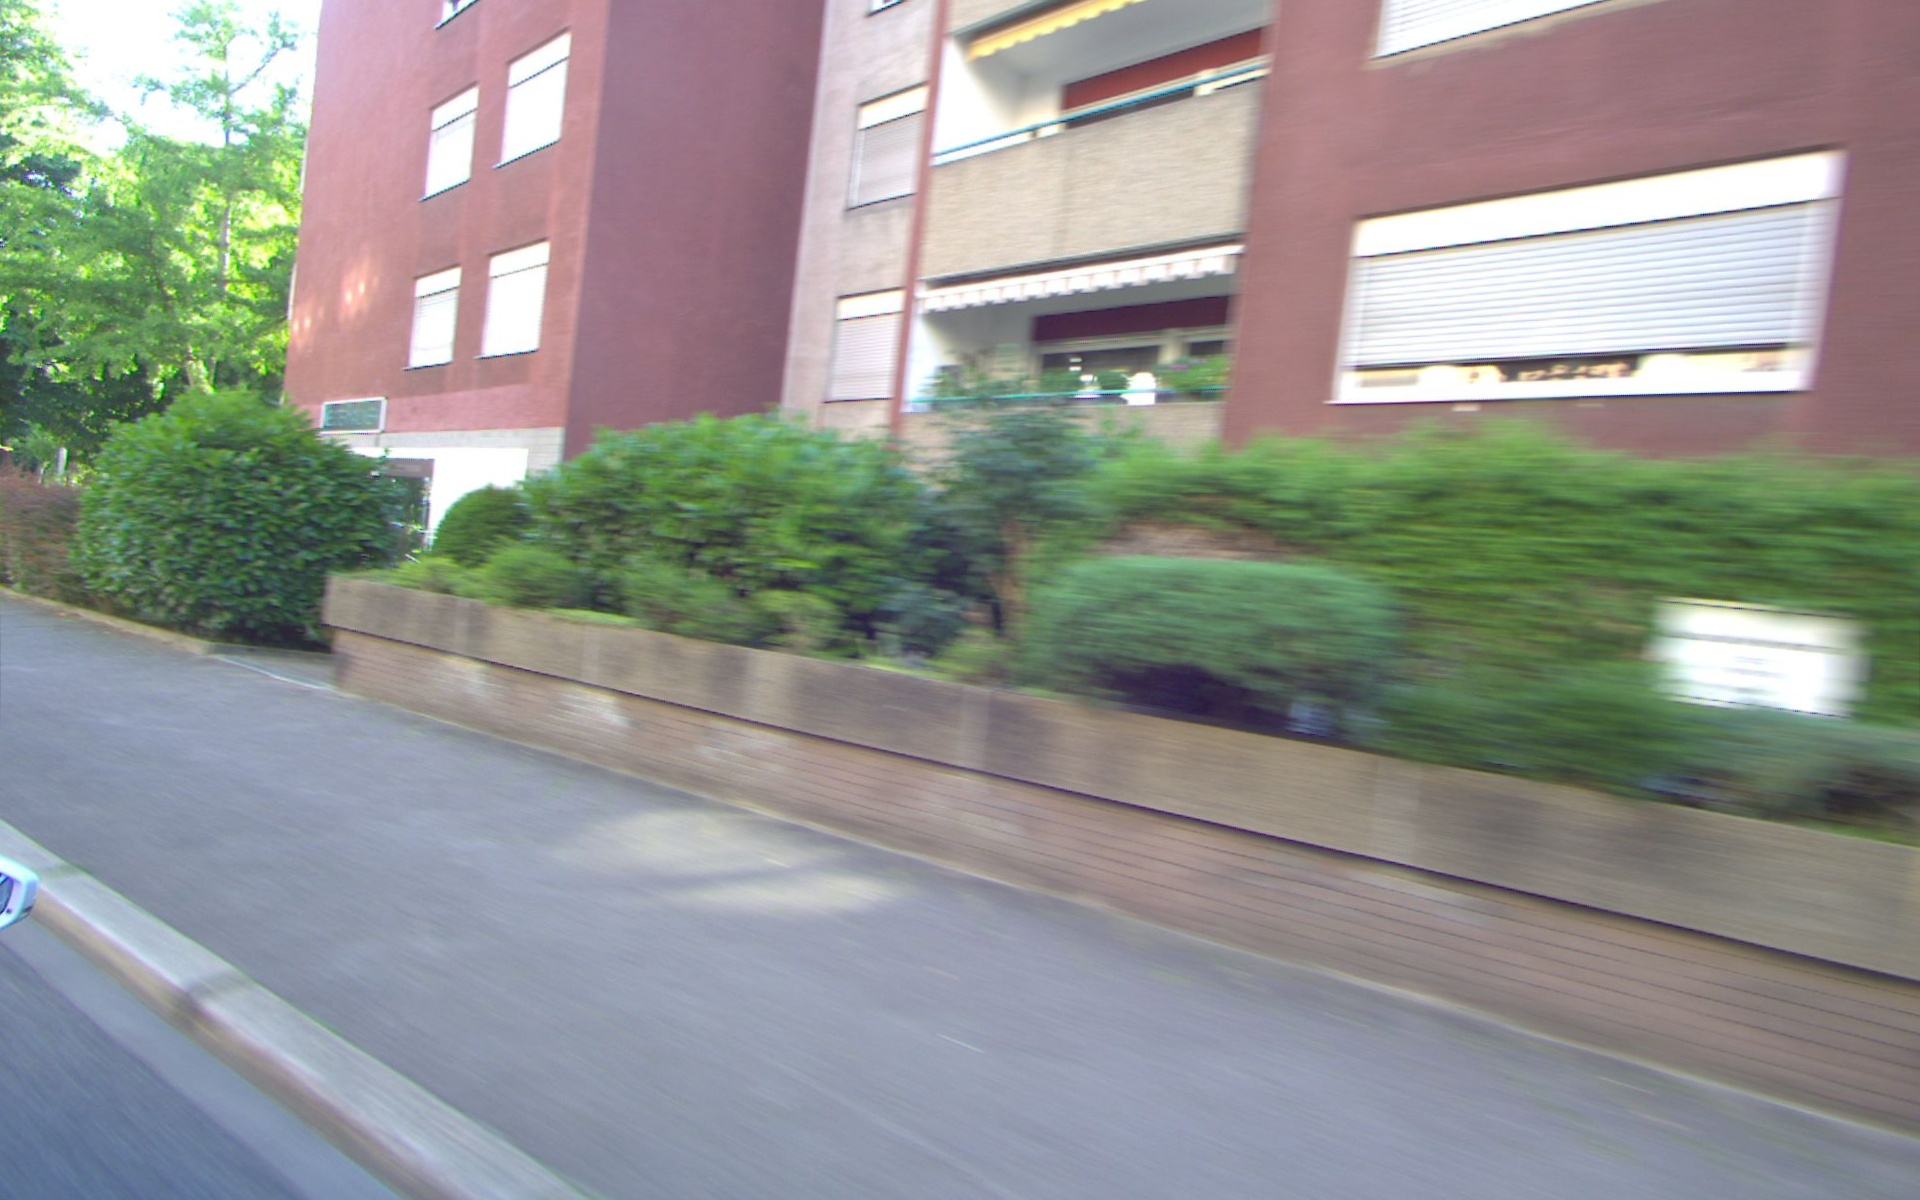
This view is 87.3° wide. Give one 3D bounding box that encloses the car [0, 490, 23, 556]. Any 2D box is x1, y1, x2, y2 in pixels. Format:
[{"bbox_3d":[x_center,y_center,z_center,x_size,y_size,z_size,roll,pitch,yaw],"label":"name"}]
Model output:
[{"bbox_3d":[-27.490,-2.347,26.041,1.971,1.673,4.433,8,0,40],"label":"car"}]
